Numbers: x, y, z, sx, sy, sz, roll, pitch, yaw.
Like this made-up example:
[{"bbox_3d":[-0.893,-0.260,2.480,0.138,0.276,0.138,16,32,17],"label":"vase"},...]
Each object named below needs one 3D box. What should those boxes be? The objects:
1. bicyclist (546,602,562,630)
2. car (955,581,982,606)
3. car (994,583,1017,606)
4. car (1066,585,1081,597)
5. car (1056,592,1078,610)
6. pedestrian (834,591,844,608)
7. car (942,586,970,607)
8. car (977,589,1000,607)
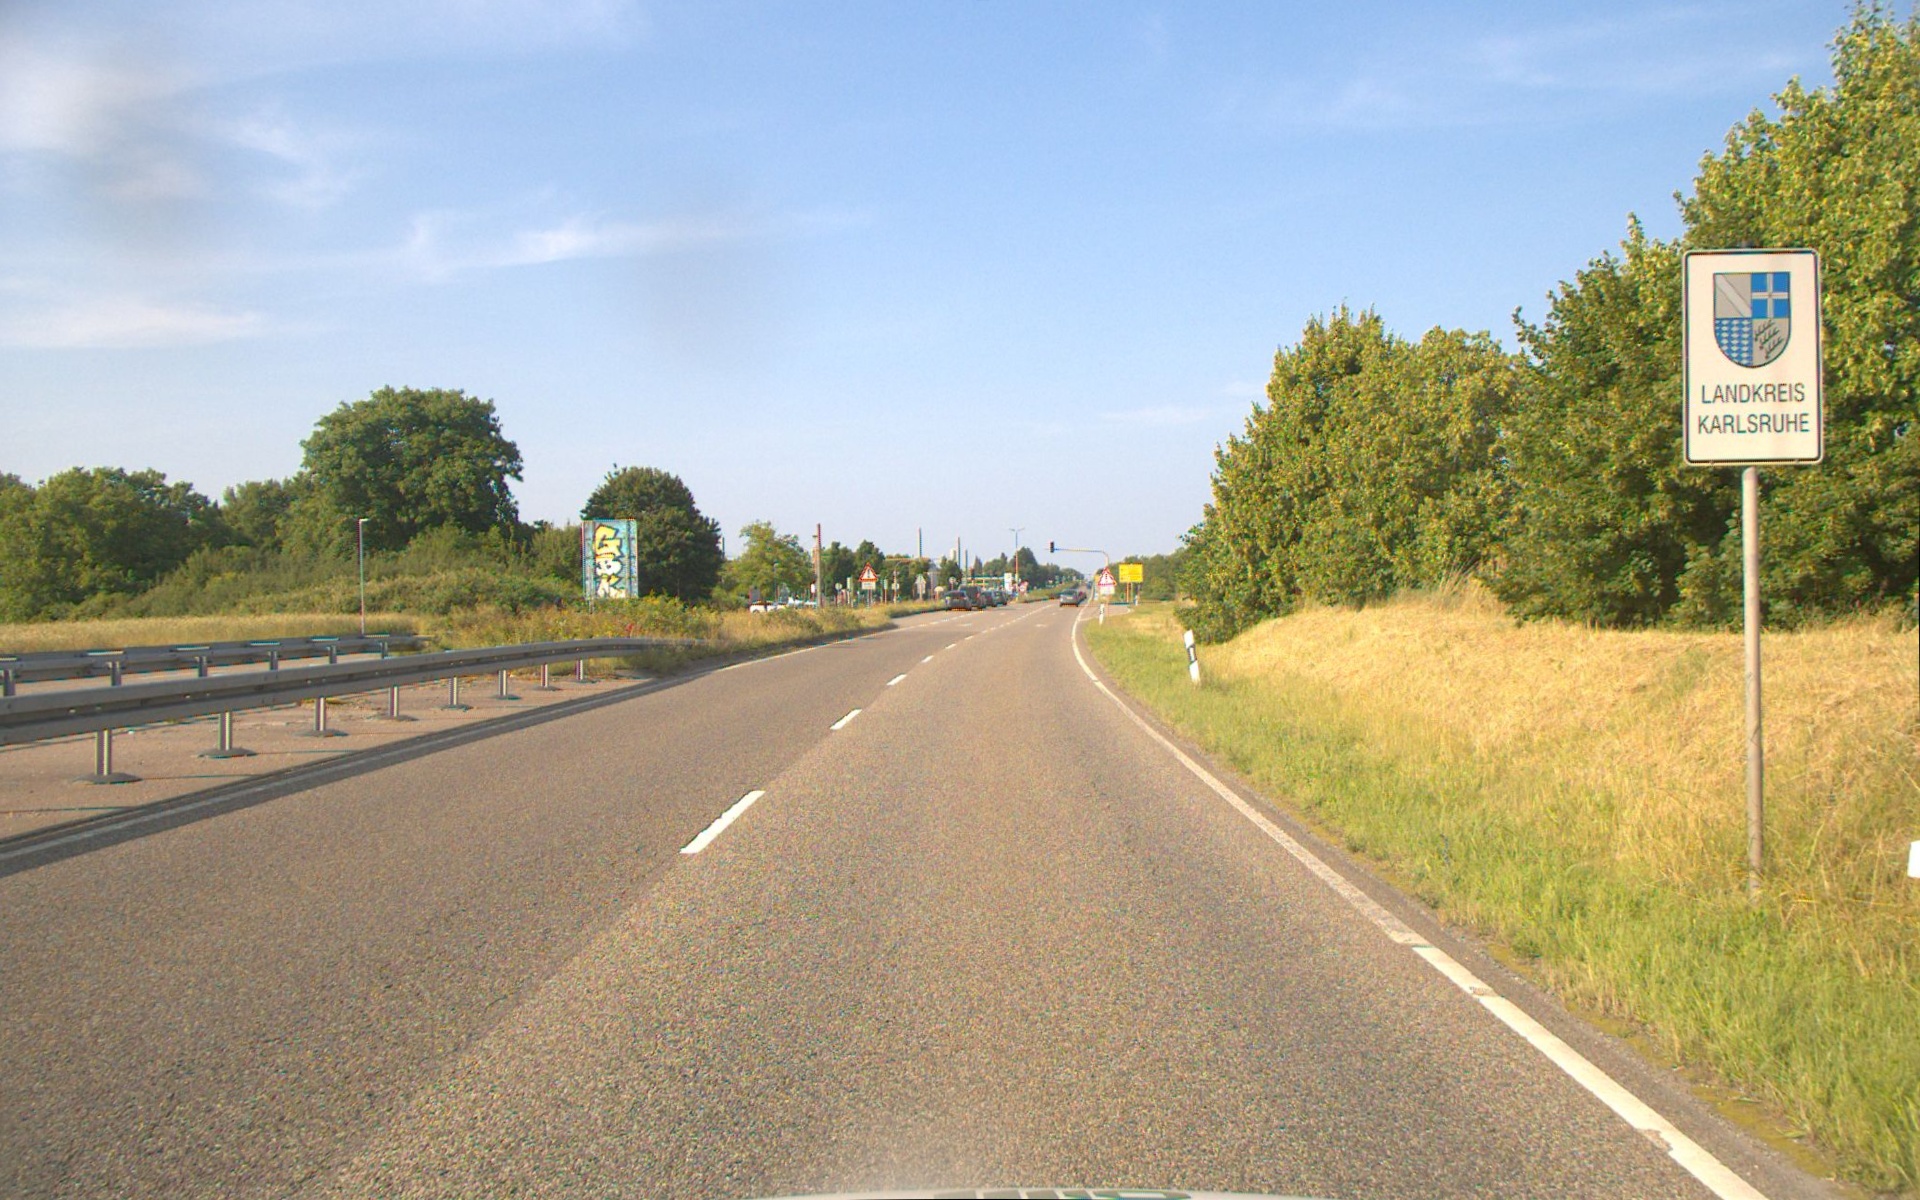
[{"bbox_3d":[-20.197,0.792,82.266,0.457,1.414,1.048,-1,0,5],"label":"bicyclist"},{"bbox_3d":[0.677,-0.499,130.026,1.695,1.888,4.523,-1,1,5],"label":"car"},{"bbox_3d":[4.547,-0.535,165.497,1.951,2.049,4.839,-1,-2,6],"label":"car"},{"bbox_3d":[15.710,-1.269,228.540,1.951,1.624,4.002,-1,0,4],"label":"car"},{"bbox_3d":[9.962,0.108,153.769,1.951,1.579,4.003,-1,1,5],"label":"car"},{"bbox_3d":[-12.347,-0.077,169.040,0.897,1.736,1.067,1,-1,-1],"label":"pedestrian"},{"bbox_3d":[-0.281,-0.261,123.149,1.695,1.481,4.523,-1,1,5],"label":"car"},{"bbox_3d":[2.587,-0.179,147.622,1.732,1.497,4.018,-1,1,5],"label":"car"}]
